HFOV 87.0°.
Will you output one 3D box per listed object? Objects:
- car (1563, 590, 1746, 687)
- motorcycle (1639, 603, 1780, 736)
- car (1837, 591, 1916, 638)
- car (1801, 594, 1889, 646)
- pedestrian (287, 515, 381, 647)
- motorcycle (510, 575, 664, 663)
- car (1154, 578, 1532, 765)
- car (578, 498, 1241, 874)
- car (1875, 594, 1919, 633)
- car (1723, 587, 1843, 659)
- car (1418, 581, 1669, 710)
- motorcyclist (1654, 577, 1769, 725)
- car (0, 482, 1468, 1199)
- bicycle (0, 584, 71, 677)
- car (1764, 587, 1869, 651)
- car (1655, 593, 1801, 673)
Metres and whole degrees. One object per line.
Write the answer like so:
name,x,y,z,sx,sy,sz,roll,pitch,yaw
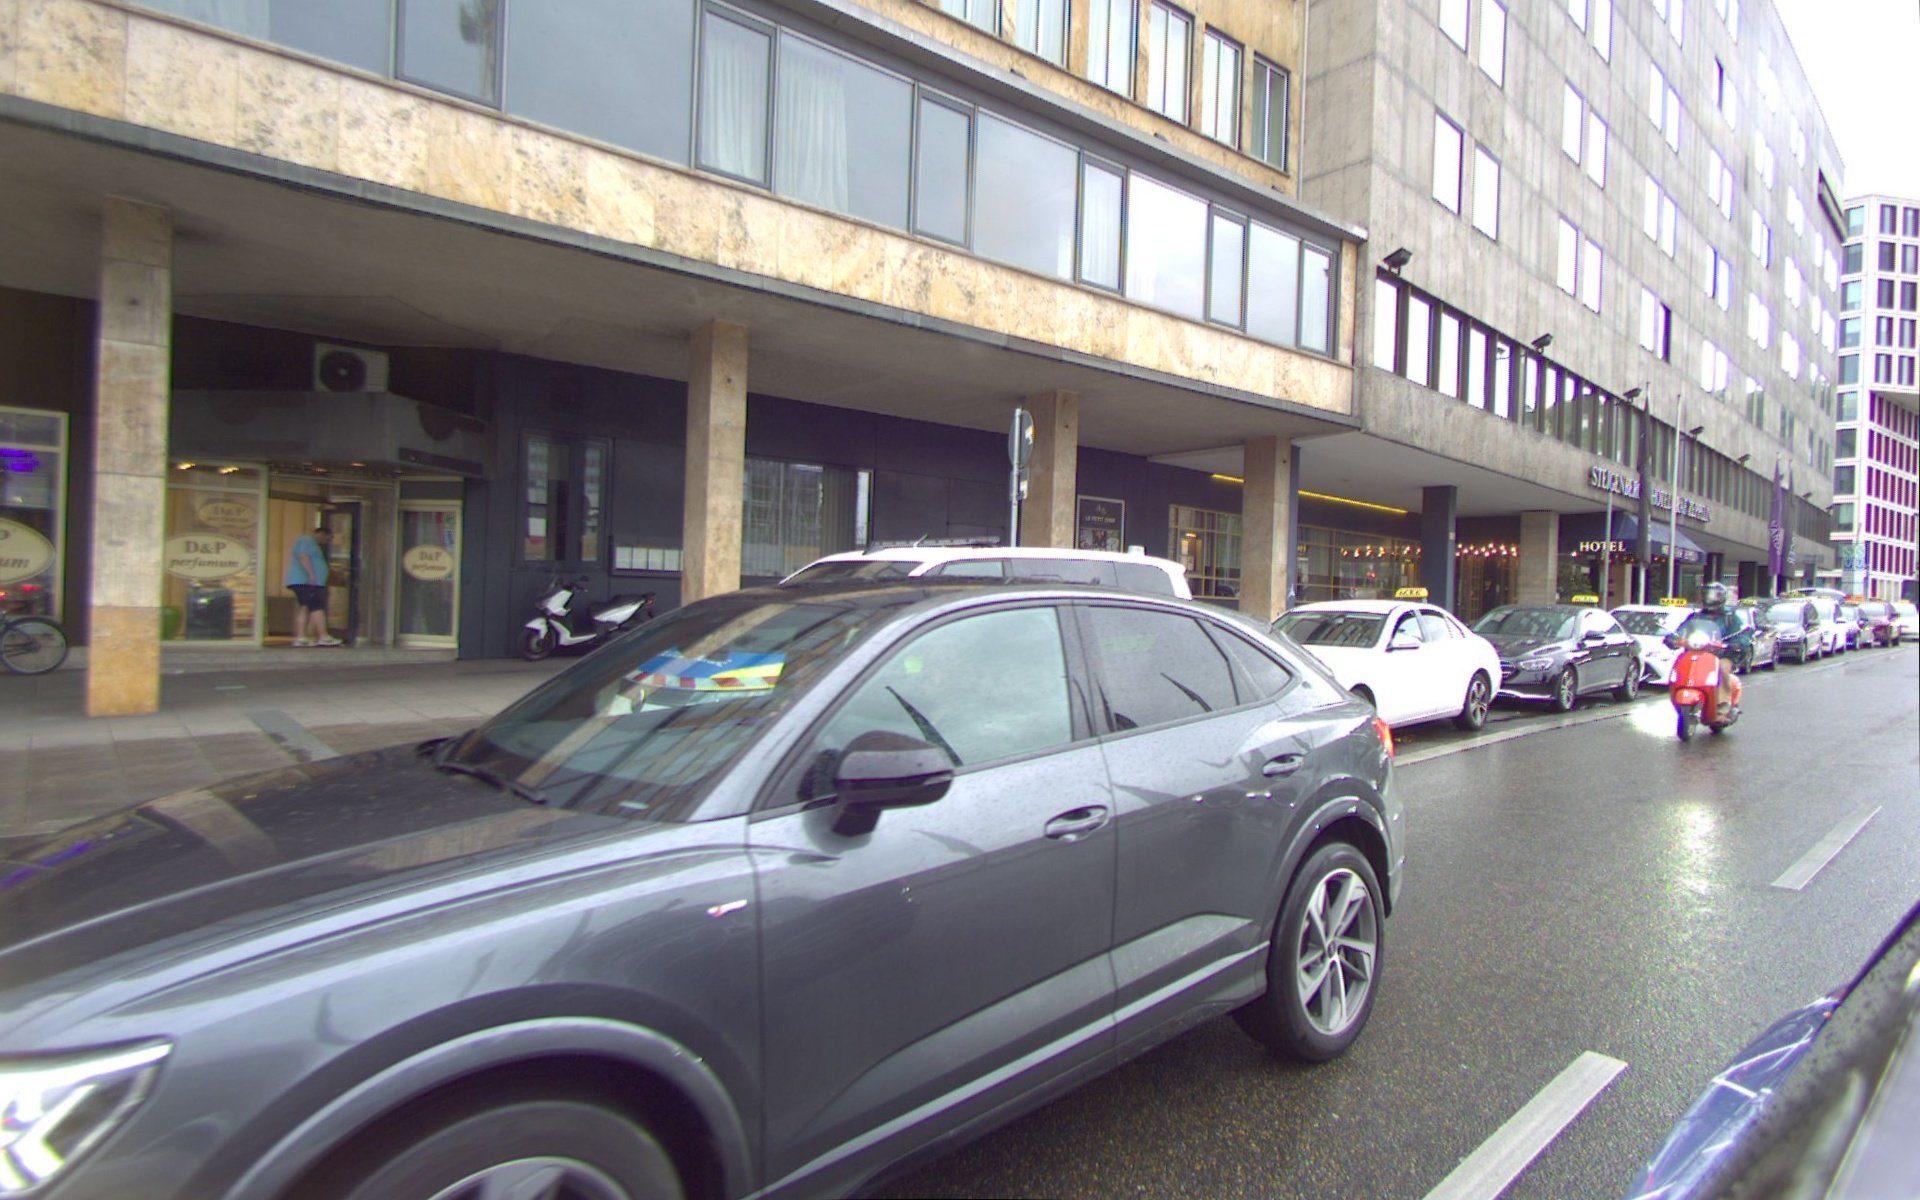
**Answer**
car,13.138,0.618,19.020,4.731,1.612,1.729,0,0,-41
motorcycle,8.305,0.704,11.185,1.931,1.323,0.848,0,0,-41
car,33.667,0.480,37.149,3.932,1.634,1.729,0,0,-41
car,29.704,0.616,33.950,3.932,1.634,1.729,0,0,-41
pedestrian,-8.987,-0.269,14.535,1.114,1.813,0.801,0,0,-33
motorcycle,-5.489,0.257,14.956,2.063,1.233,0.569,0,0,-33
car,4.453,0.610,11.319,4.924,1.658,1.877,0,0,-41
car,-0.087,0.425,7.559,4.850,1.944,1.877,0,0,-41
car,41.204,0.542,43.936,3.932,1.634,1.729,0,0,-41
car,21.914,0.537,26.880,4.731,1.764,1.729,0,0,-41
car,8.922,0.568,15.292,4.731,1.658,1.877,0,0,-41
motorcyclist,8.320,0.528,11.212,0.829,1.547,0.860,0,0,-40
car,-0.353,0.608,3.061,4.266,1.520,1.882,0,0,-41
bicycle,-11.647,0.352,11.408,2.428,1.059,0.657,0,0,-41
car,25.697,0.501,30.313,4.731,1.764,1.729,0,0,-41
car,17.394,0.656,22.832,4.731,1.612,1.729,0,0,-41
